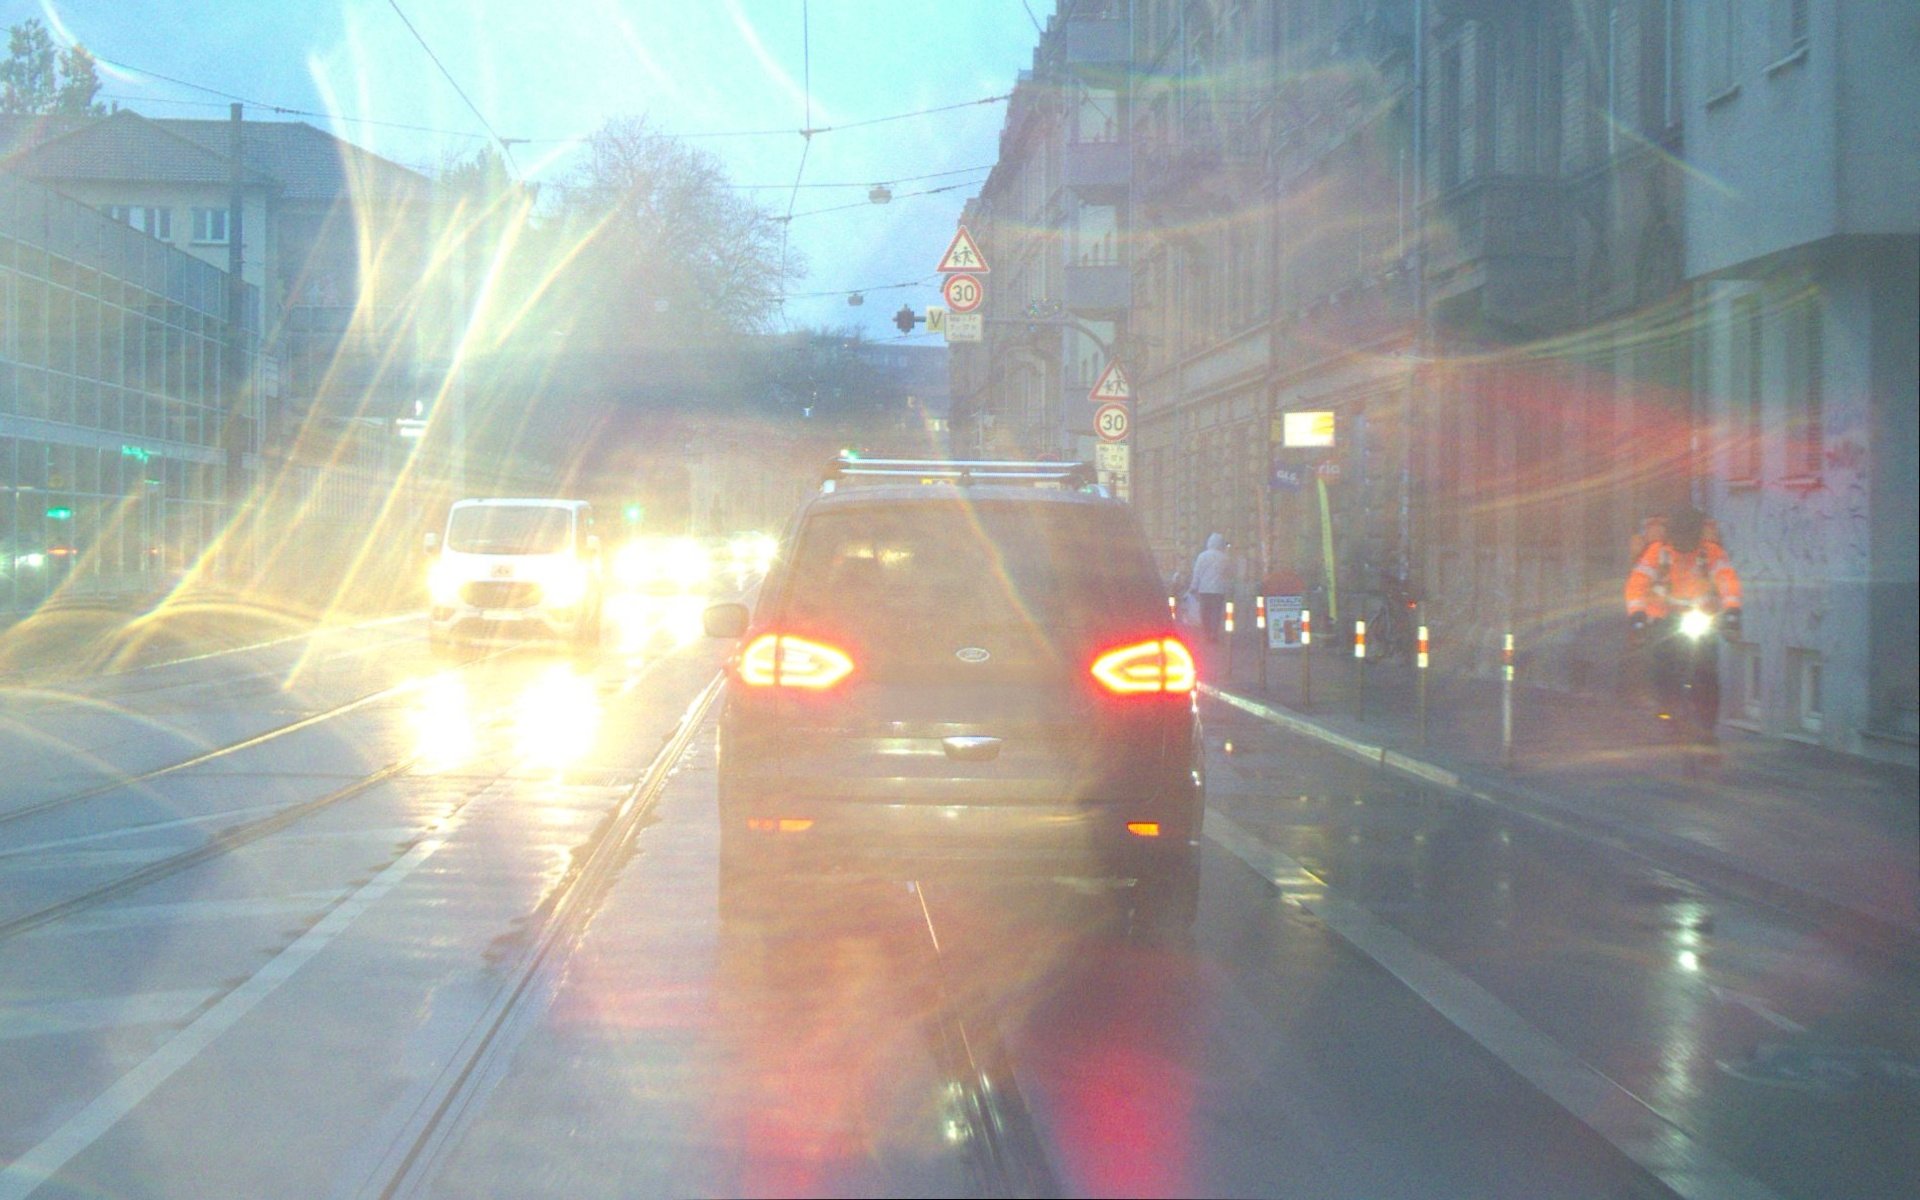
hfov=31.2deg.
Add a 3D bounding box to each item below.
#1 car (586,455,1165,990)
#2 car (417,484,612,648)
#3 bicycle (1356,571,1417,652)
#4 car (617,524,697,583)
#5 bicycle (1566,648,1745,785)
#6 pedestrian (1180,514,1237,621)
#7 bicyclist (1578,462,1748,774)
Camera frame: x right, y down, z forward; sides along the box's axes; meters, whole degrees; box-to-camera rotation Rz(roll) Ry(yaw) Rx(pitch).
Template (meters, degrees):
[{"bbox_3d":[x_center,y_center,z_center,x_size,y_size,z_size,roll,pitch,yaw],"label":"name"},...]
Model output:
[{"bbox_3d":[-0.281,0.392,13.930,1.993,1.835,4.000,1,1,0],"label":"car"},{"bbox_3d":[-5.768,-0.452,45.023,1.993,2.007,4.685,1,1,-1],"label":"car"},{"bbox_3d":[5.002,0.122,40.366,0.397,0.908,1.867,0,1,-3],"label":"bicycle"},{"bbox_3d":[-8.194,-1.268,93.373,1.841,1.573,4.442,0,1,-1],"label":"car"},{"bbox_3d":[4.282,0.702,21.278,0.608,0.758,1.861,0,1,-4],"label":"bicycle"},{"bbox_3d":[3.723,-0.493,51.543,0.786,1.592,0.742,0,1,-1],"label":"pedestrian"},{"bbox_3d":[4.332,0.100,21.243,0.745,1.873,1.112,0,1,-5],"label":"bicyclist"}]
